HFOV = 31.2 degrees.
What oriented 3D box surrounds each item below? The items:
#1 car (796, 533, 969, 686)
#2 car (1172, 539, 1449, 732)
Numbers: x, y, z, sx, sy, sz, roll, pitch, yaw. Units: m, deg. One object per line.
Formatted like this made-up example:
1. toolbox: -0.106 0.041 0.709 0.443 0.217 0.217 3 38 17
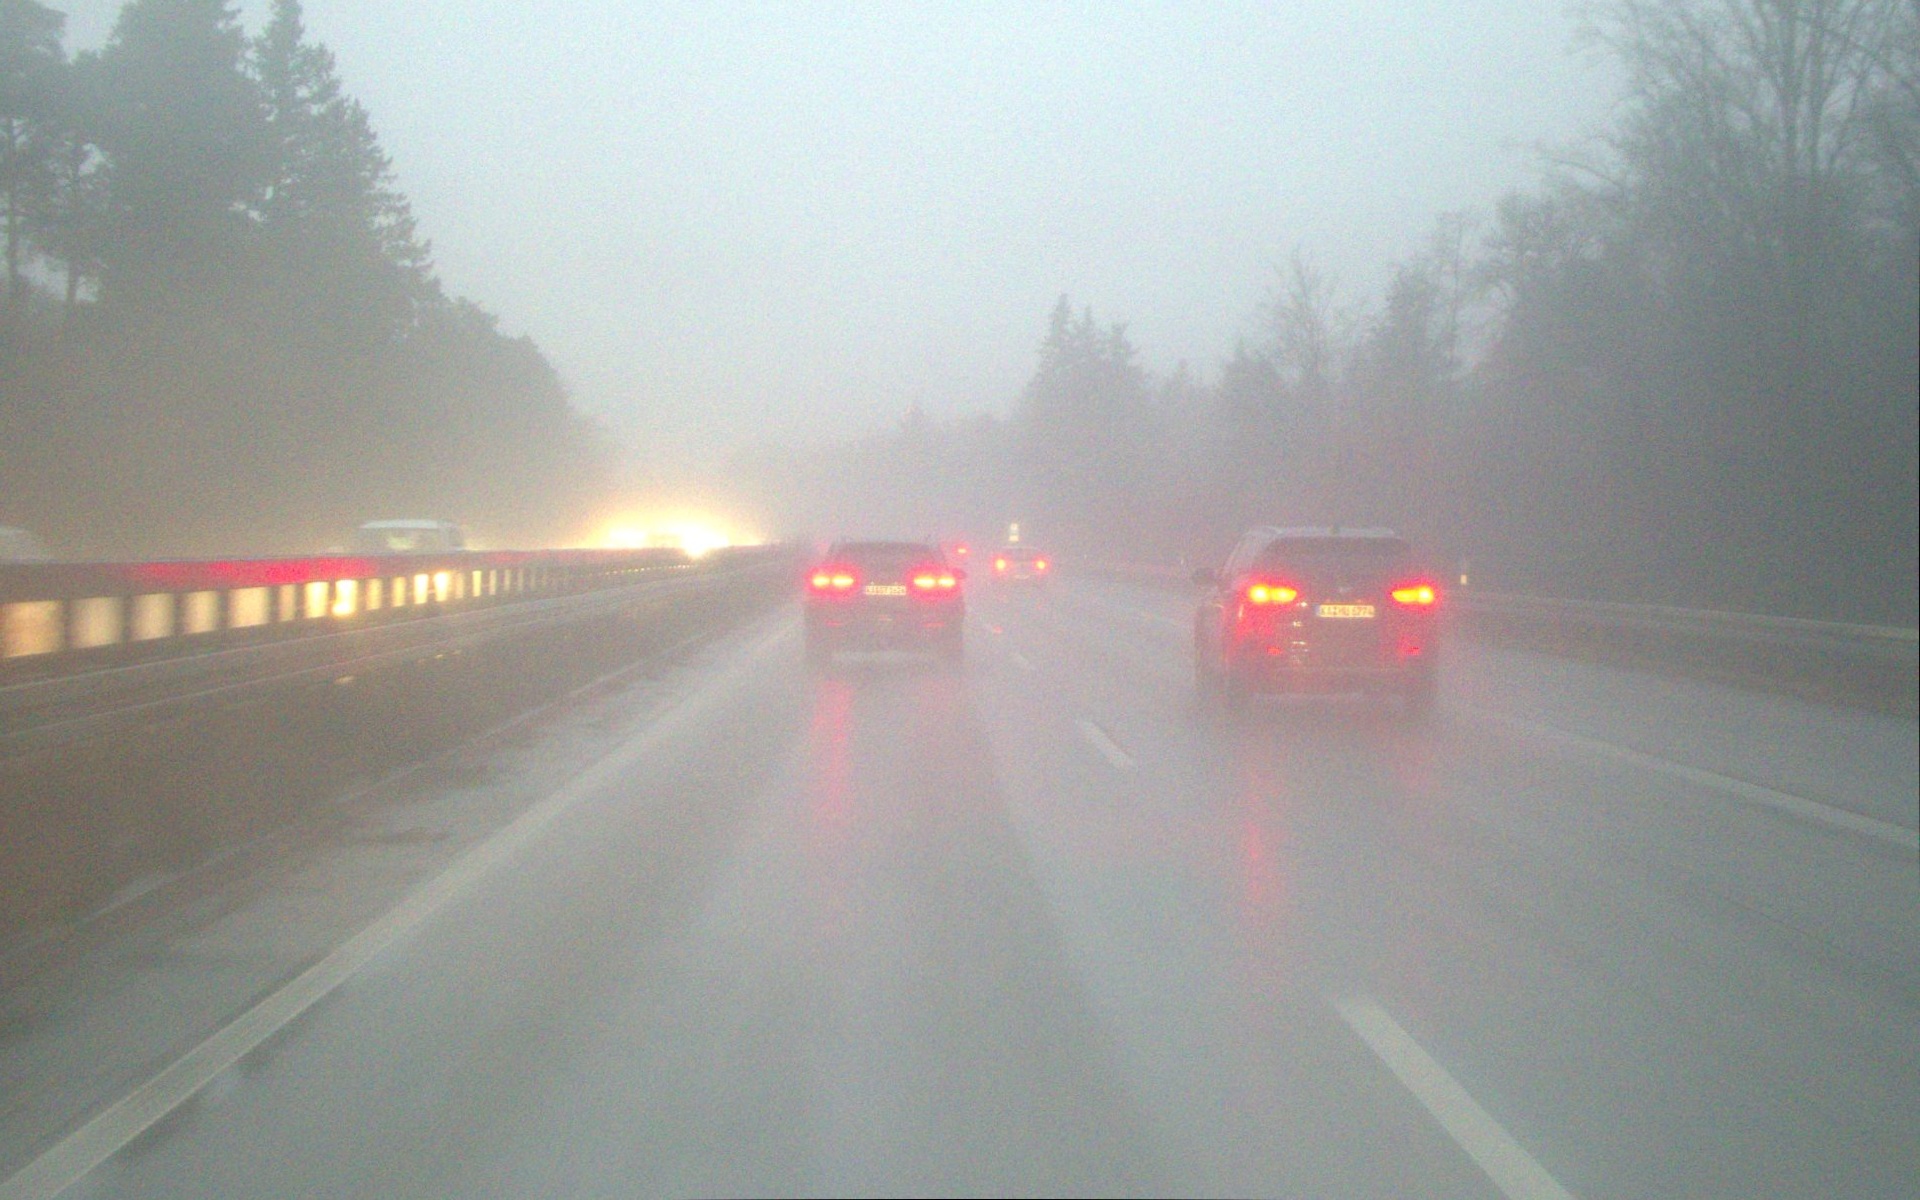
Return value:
1. car: -0.920 0.077 41.929 1.986 1.761 4.173 0 1 -1
2. car: 3.256 0.284 32.838 2.070 1.692 4.461 1 1 -1
